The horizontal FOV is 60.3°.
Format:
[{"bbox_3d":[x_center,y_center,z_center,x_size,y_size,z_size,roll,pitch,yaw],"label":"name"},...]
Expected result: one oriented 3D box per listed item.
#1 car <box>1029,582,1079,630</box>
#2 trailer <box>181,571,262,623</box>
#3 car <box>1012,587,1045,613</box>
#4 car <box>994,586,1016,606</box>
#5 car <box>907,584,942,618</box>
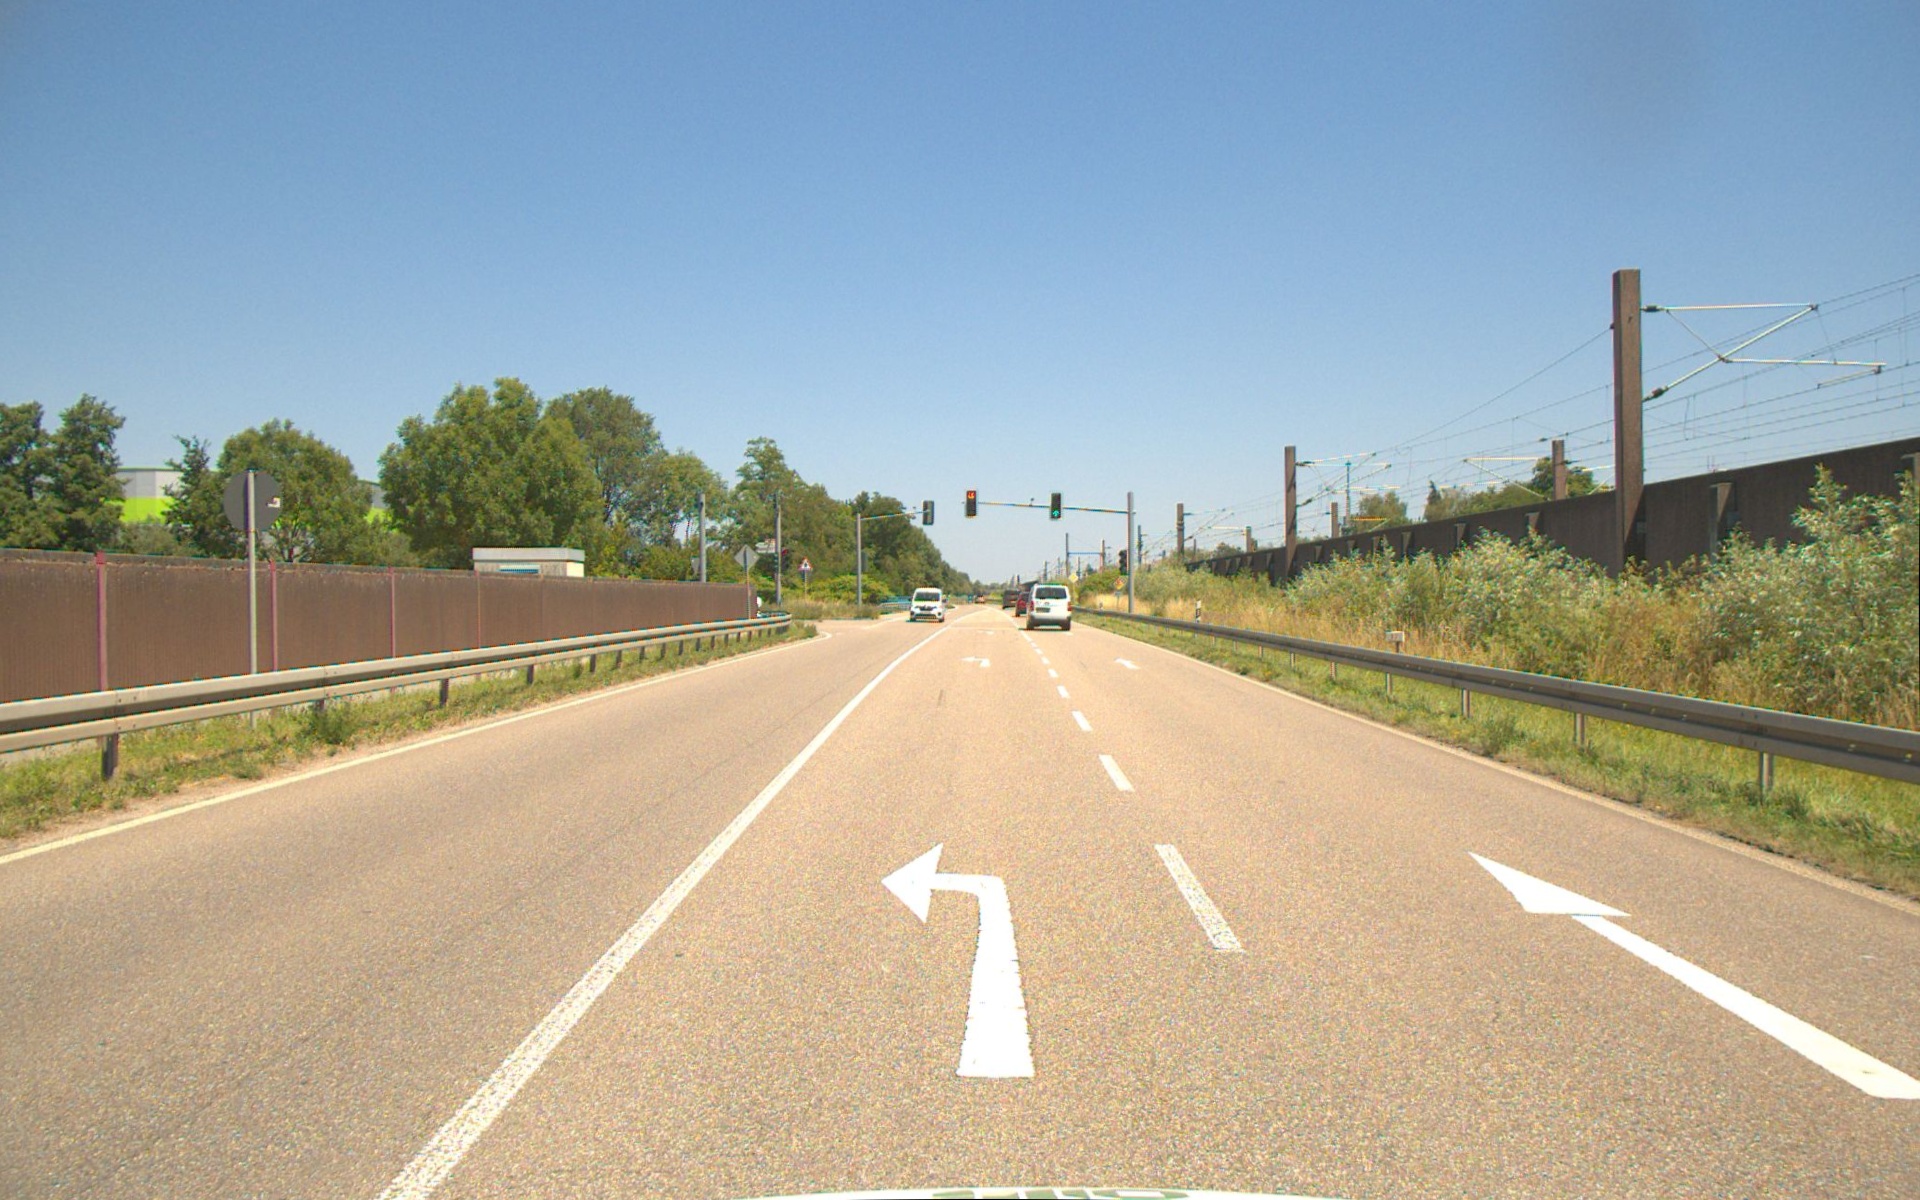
[{"bbox_3d":[4.105,0.239,72.896,1.953,2.018,4.060,1,0,0],"label":"car"},{"bbox_3d":[-41.134,-0.165,92.135,1.796,2.813,3.731,0,0,45],"label":"trailer"},{"bbox_3d":[4.645,-0.025,112.713,1.978,1.756,4.542,0,0,-1],"label":"car"},{"bbox_3d":[4.513,-0.440,166.579,2.111,2.002,4.542,0,0,-1],"label":"car"},{"bbox_3d":[-1.967,0.027,89.797,1.849,1.770,4.775,0,0,-2],"label":"car"}]
